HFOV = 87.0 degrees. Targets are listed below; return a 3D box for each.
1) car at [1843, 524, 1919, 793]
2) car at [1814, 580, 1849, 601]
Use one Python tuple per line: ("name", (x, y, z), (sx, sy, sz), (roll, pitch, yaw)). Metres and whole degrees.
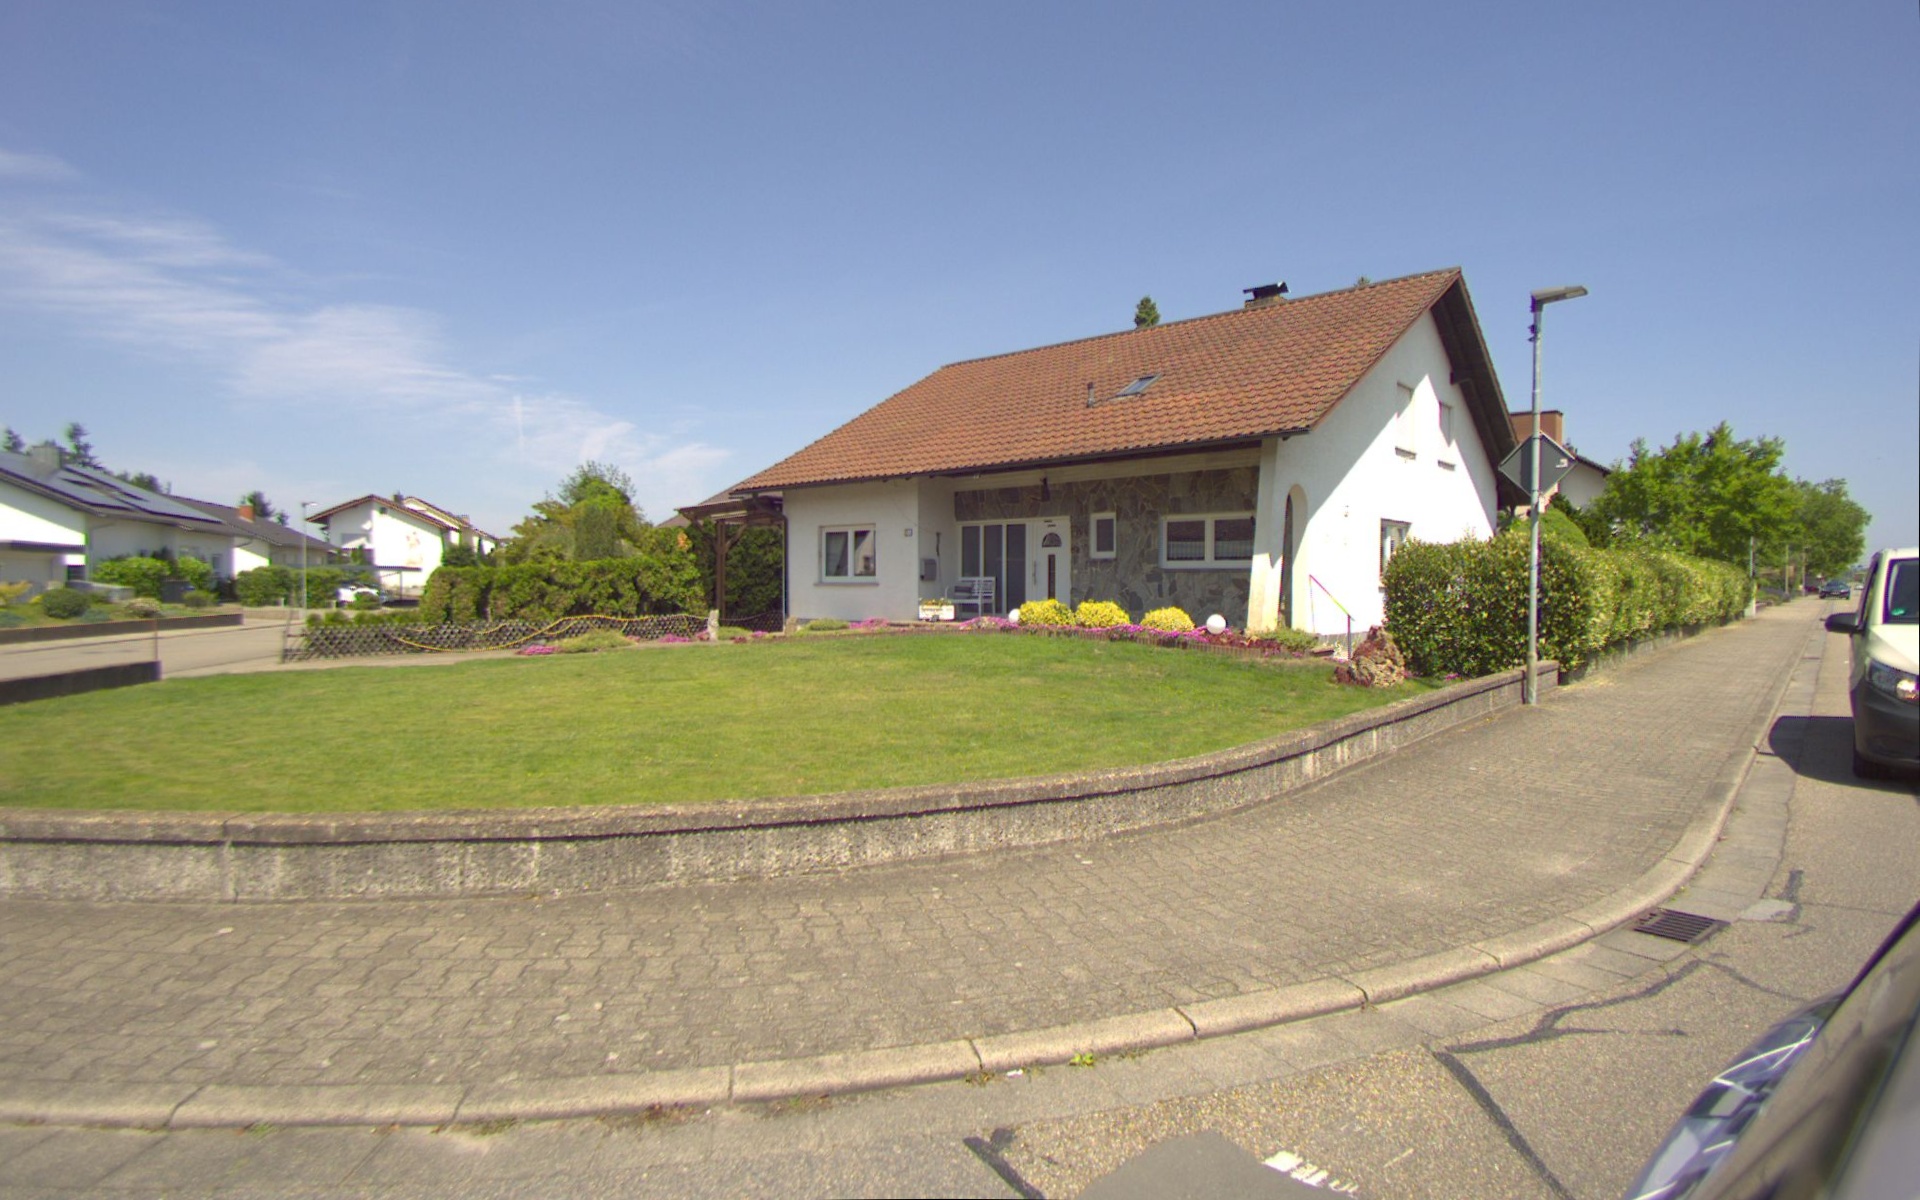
("car", (8.822, 0.352, 8.511), (2.011, 1.879, 4.995), (1, 2, 40))
("car", (71.751, -0.796, 83.311), (1.994, 1.615, 3.937), (1, 2, 44))
